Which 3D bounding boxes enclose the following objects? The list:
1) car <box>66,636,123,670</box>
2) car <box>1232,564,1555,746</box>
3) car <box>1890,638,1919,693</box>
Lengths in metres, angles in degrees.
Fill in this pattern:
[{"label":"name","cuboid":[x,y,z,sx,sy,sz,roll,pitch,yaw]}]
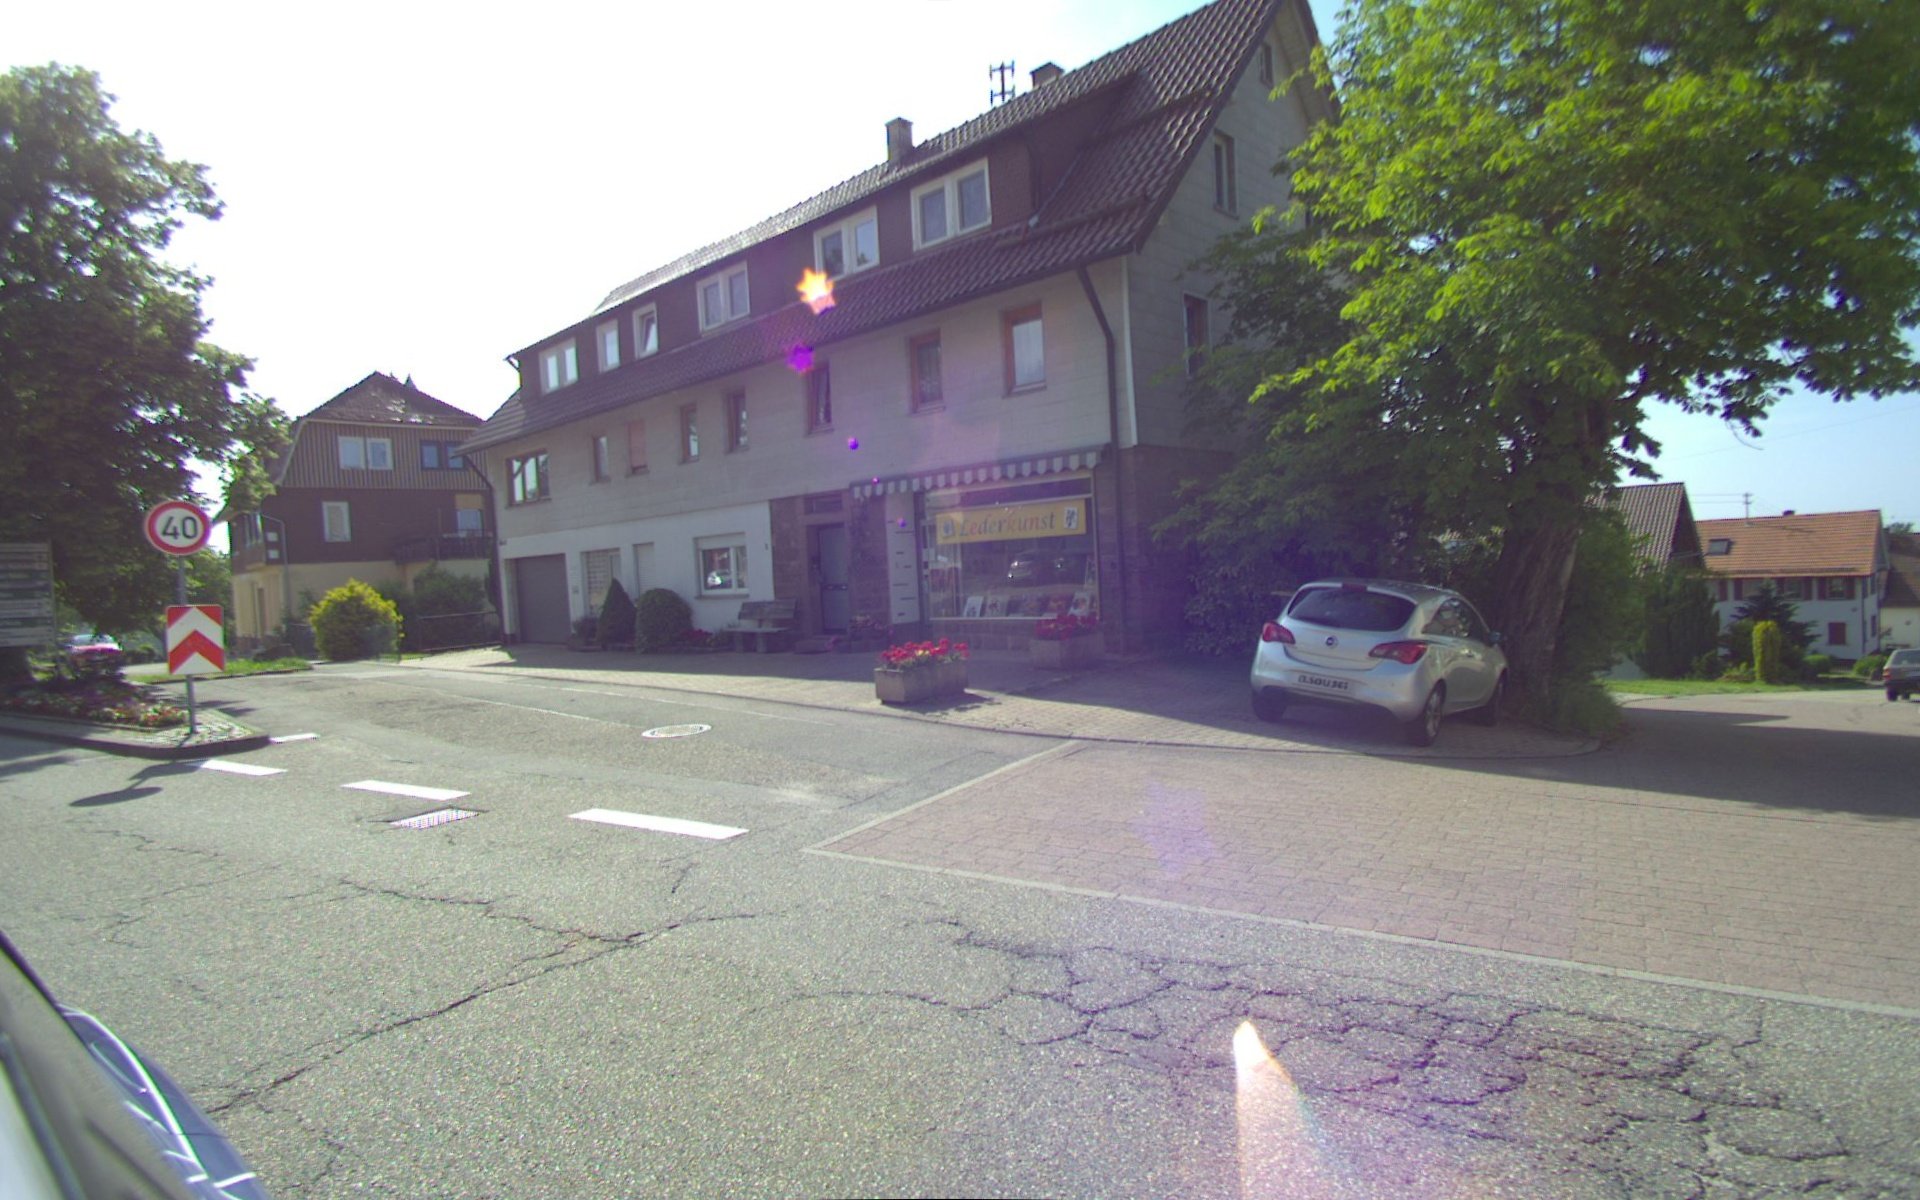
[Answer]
[{"label":"car","cuboid":[-37.965,2.289,44.370,1.700,1.307,4.004,-2,0,-43]},{"label":"car","cuboid":[4.610,0.427,10.515,1.819,1.465,3.717,5,4,44]},{"label":"car","cuboid":[27.586,1.838,28.487,3.939,1.476,1.765,3,-4,-43]}]
